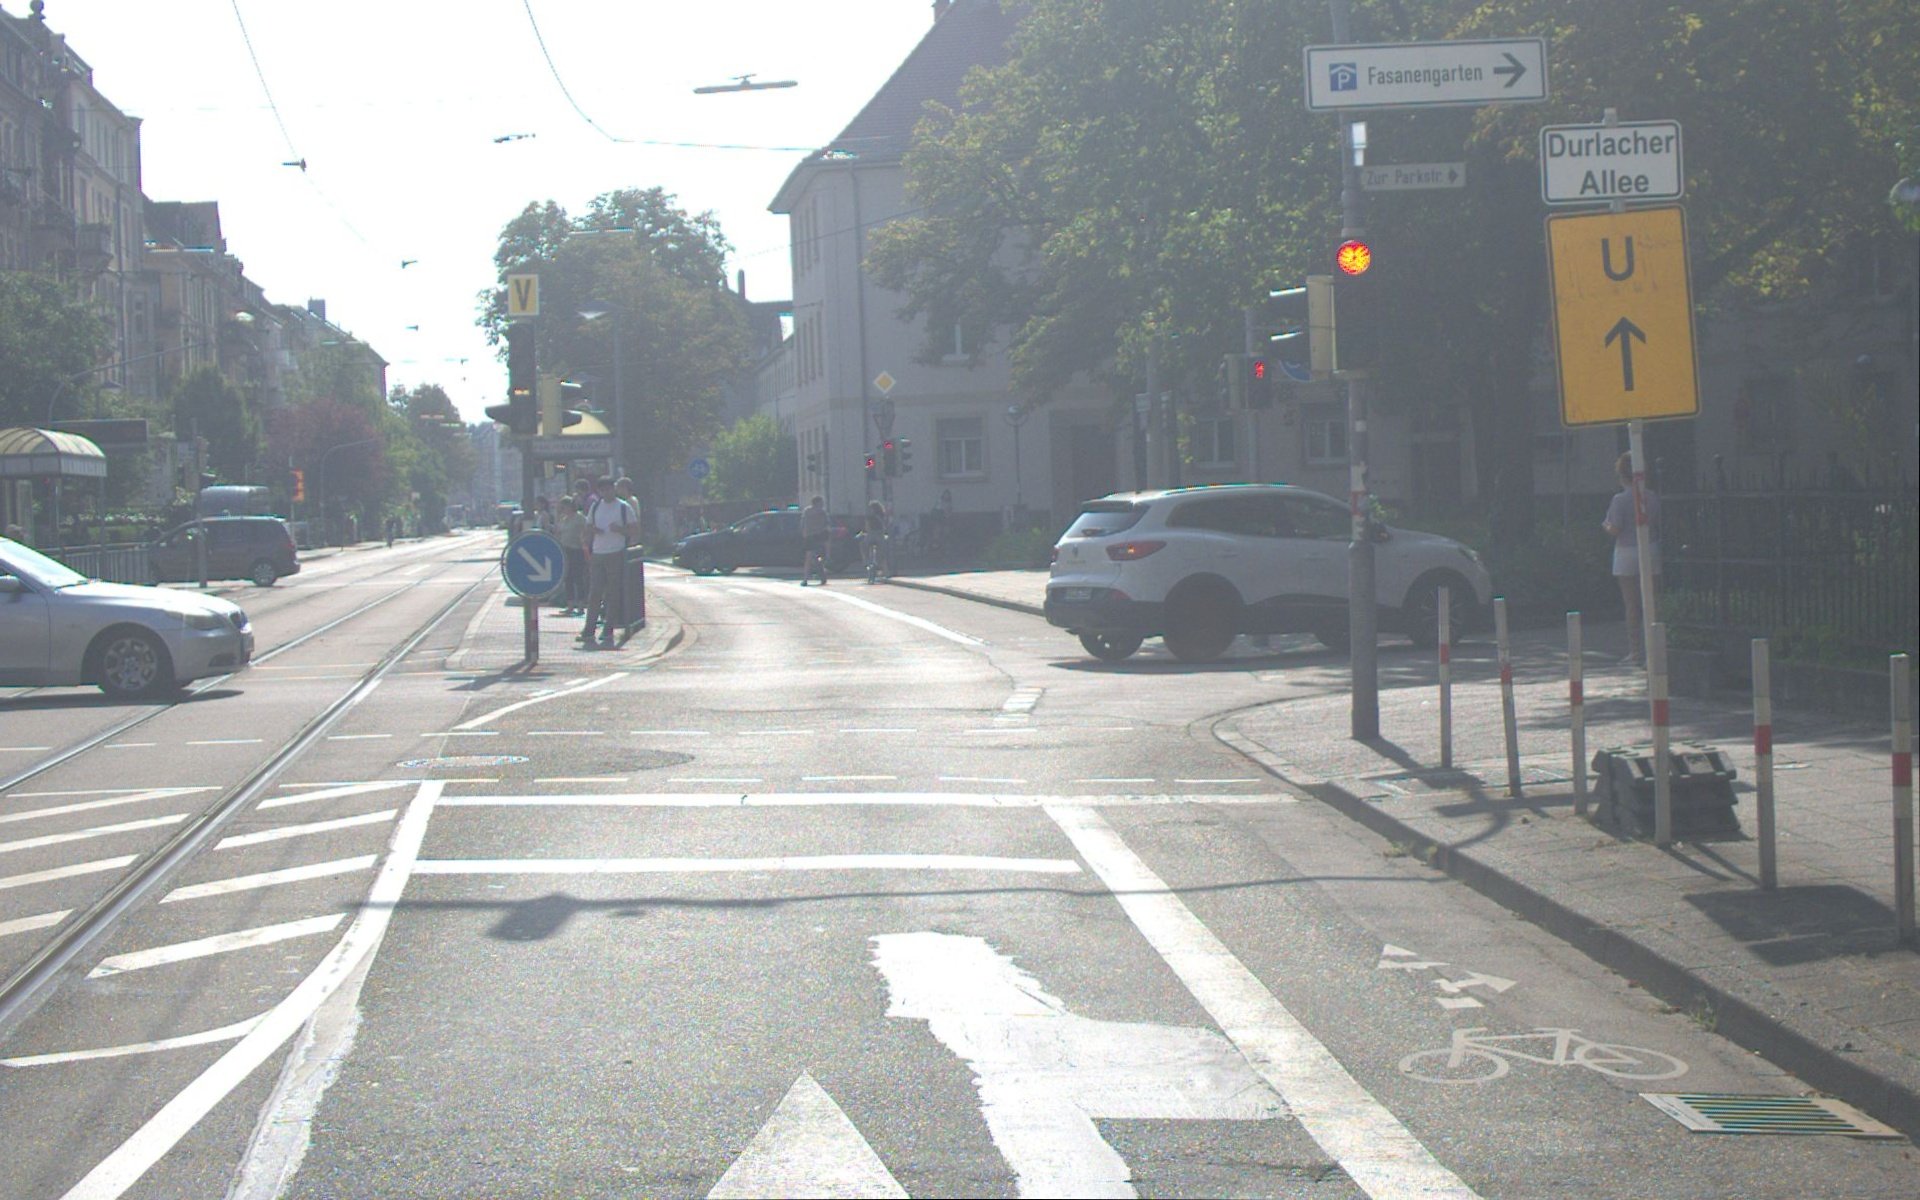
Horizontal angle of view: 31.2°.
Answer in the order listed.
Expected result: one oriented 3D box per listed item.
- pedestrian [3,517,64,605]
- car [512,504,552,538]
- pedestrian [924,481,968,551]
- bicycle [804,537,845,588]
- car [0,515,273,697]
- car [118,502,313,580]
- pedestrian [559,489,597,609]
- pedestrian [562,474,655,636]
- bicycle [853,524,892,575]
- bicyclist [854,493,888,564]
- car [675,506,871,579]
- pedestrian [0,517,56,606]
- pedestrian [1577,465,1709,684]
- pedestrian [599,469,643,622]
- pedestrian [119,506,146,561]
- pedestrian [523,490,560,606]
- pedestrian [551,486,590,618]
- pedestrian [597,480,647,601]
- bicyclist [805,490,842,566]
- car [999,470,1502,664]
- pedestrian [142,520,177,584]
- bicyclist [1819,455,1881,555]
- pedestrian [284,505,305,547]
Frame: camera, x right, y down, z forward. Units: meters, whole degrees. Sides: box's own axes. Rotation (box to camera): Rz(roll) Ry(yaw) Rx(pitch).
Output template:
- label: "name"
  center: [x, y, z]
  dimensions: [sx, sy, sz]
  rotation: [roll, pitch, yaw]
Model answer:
- label: "pedestrian"
  center: [-14.627, -0.629, 54.291]
  dimensions: [0.827, 1.354, 0.776]
  rotation: [-2, 2, -10]
- label: "car"
  center: [-21.241, -3.940, 170.848]
  dimensions: [1.801, 1.648, 3.643]
  rotation: [-2, 2, -5]
- label: "pedestrian"
  center: [-0.354, -2.139, 87.341]
  dimensions: [0.892, 1.734, 0.776]
  rotation: [-1, 2, 15]
- label: "bicycle"
  center: [-2.746, -0.757, 69.456]
  dimensions: [0.628, 0.974, 1.771]
  rotation: [-2, 2, -8]
- label: "car"
  center: [-8.493, 0.067, 29.554]
  dimensions: [4.770, 1.461, 1.870]
  rotation: [-2, 2, -1]
- label: "car"
  center: [-17.301, -1.386, 79.820]
  dimensions: [4.321, 1.669, 2.001]
  rotation: [-2, 2, -14]
- label: "pedestrian"
  center: [-5.702, -0.770, 51.287]
  dimensions: [0.543, 1.753, 0.534]
  rotation: [1, 4, -6]
- label: "pedestrian"
  center: [-3.844, -0.505, 37.613]
  dimensions: [0.701, 1.719, 0.747]
  rotation: [3, 4, 27]
- label: "bicycle"
  center: [-1.761, -1.011, 68.856]
  dimensions: [0.558, 0.974, 1.857]
  rotation: [-2, 2, -8]
- label: "bicyclist"
  center: [-1.782, -1.435, 68.856]
  dimensions: [0.558, 1.412, 0.872]
  rotation: [-2, 2, -7]
- label: "car"
  center: [-4.363, -1.360, 80.660]
  dimensions: [4.323, 1.563, 2.000]
  rotation: [-1, 2, 5]
- label: "pedestrian"
  center: [-14.500, -0.606, 53.322]
  dimensions: [0.827, 1.354, 0.776]
  rotation: [-2, 2, -10]
- label: "pedestrian"
  center: [5.525, -0.214, 27.846]
  dimensions: [0.749, 1.725, 0.772]
  rotation: [-2, 2, -15]
- label: "pedestrian"
  center: [-4.126, -0.665, 41.870]
  dimensions: [0.504, 1.827, 0.534]
  rotation: [1, 4, -6]
- label: "pedestrian"
  center: [-26.171, -2.107, 108.694]
  dimensions: [0.749, 1.725, 0.772]
  rotation: [-2, 2, -15]
- label: "pedestrian"
  center: [-6.409, -0.799, 52.646]
  dimensions: [0.532, 1.753, 0.545]
  rotation: [1, 4, -5]
- label: "pedestrian"
  center: [-5.269, -0.651, 46.490]
  dimensions: [0.504, 1.753, 0.534]
  rotation: [1, 4, -6]
- label: "pedestrian"
  center: [-4.988, -0.884, 50.727]
  dimensions: [0.708, 1.753, 0.534]
  rotation: [1, 4, -6]
- label: "bicyclist"
  center: [-2.761, -1.453, 69.434]
  dimensions: [0.628, 1.502, 0.679]
  rotation: [-2, 2, -7]
- label: "car"
  center: [2.766, -0.348, 32.578]
  dimensions: [4.317, 1.625, 2.000]
  rotation: [-3, 2, -28]
- label: "pedestrian"
  center: [-21.796, -1.311, 93.580]
  dimensions: [0.750, 1.725, 0.772]
  rotation: [-2, 2, -4]
- label: "bicyclist"
  center: [16.746, -1.788, 64.700]
  dimensions: [0.989, 1.851, 0.492]
  rotation: [0, 2, 43]
- label: "pedestrian"
  center: [-27.386, -3.041, 141.561]
  dimensions: [0.749, 1.725, 0.772]
  rotation: [-2, 2, -15]
